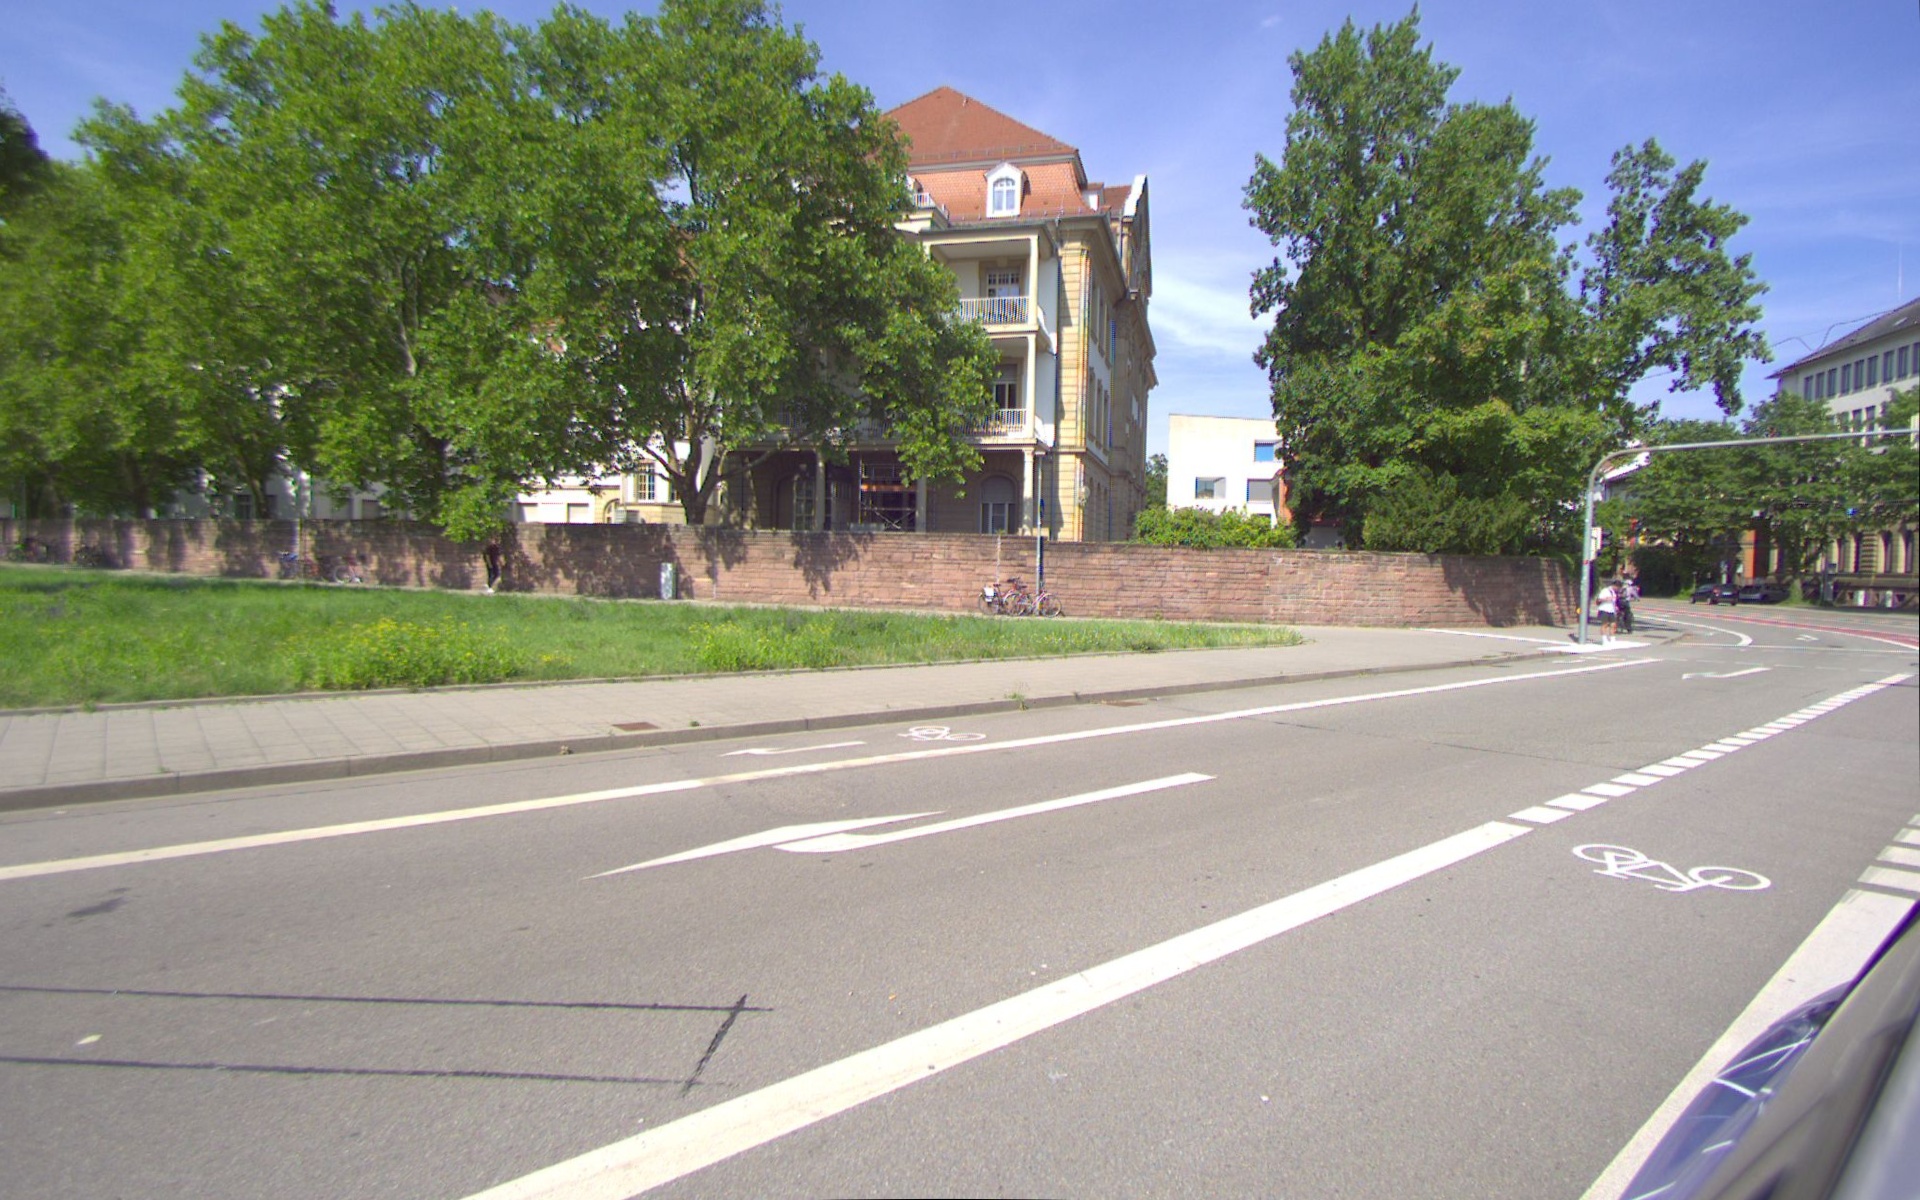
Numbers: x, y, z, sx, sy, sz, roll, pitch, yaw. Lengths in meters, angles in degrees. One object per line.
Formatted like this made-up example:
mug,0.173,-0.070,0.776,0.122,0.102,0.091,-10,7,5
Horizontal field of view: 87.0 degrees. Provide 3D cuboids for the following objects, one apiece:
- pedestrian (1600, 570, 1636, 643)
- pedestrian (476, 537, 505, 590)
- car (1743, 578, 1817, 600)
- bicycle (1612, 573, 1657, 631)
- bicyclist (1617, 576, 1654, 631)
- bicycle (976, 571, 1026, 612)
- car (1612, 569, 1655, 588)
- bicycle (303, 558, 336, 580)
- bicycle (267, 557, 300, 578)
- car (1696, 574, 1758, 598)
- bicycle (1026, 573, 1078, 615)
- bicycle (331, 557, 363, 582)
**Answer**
pedestrian,17.754,0.154,27.317,0.649,1.897,0.788,4,3,31
pedestrian,-15.661,-1.219,33.777,0.592,1.761,0.616,2,2,20
car,63.778,-0.861,78.776,3.941,1.482,1.992,2,2,14
bicycle,21.452,0.042,32.170,1.779,1.787,0.679,0,3,-41
bicyclist,21.516,0.102,32.231,0.903,1.675,0.679,0,3,-41
bicycle,1.168,-0.245,28.968,1.406,1.136,0.350,1,2,-27
car,58.176,-1.851,87.502,1.773,1.429,3.985,3,3,14
bicycle,-23.670,-1.144,37.384,1.350,0.737,0.338,3,2,23
bicycle,-25.376,-1.205,37.971,1.350,0.737,0.338,3,2,23
car,53.570,-1.021,70.783,1.643,1.468,3.813,3,3,6
bicycle,2.648,-0.177,29.054,1.406,1.136,0.350,1,2,-6
bicycle,-22.344,-1.133,36.884,1.294,0.866,0.369,3,2,25
